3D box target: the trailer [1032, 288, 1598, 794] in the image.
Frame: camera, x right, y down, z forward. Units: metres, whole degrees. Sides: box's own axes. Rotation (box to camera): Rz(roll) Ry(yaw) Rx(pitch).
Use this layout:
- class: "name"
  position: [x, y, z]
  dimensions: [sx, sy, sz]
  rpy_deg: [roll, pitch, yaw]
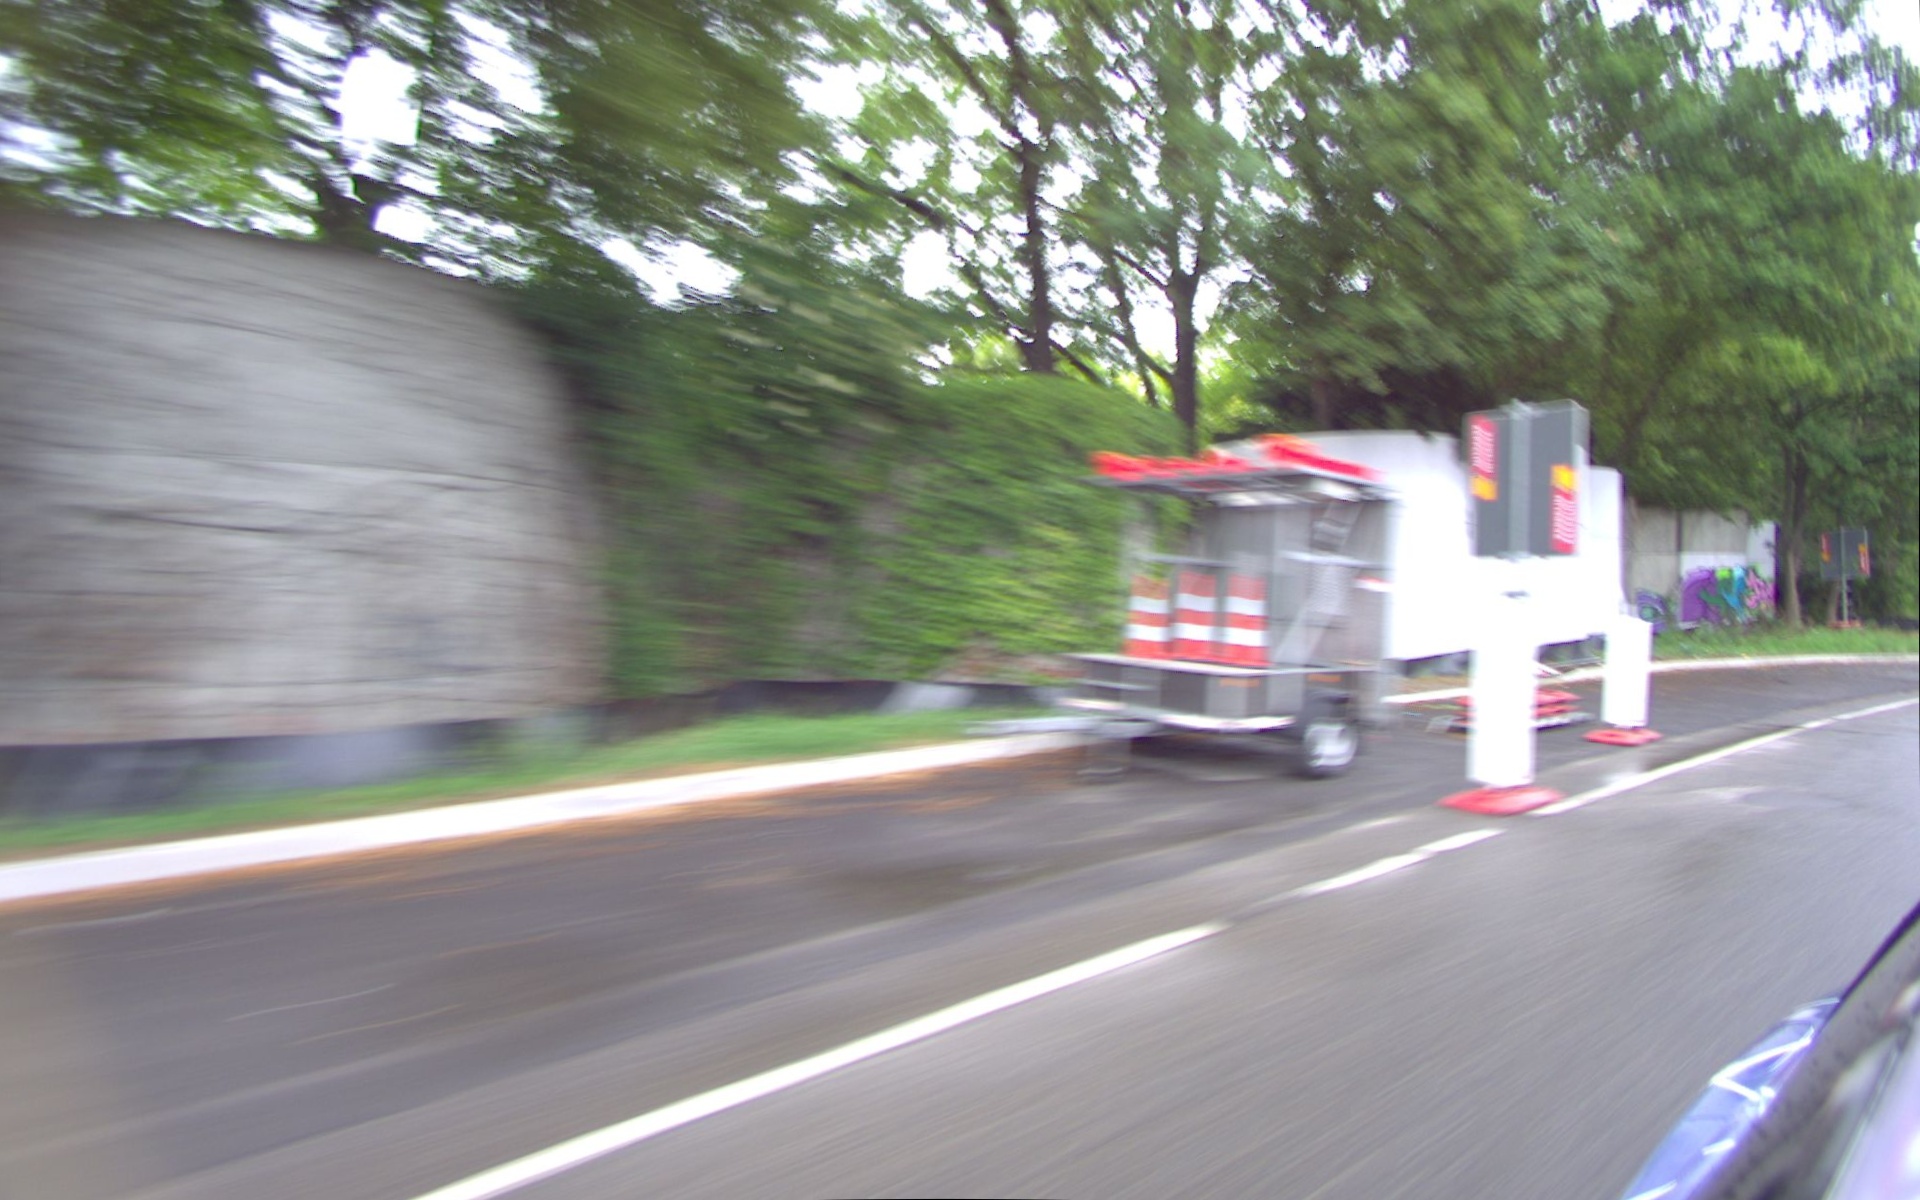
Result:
- class: "trailer"
  position: [3.710, -0.463, 9.961]
  dimensions: [5.848, 3.633, 2.315]
  rpy_deg: [0, 2, -36]
